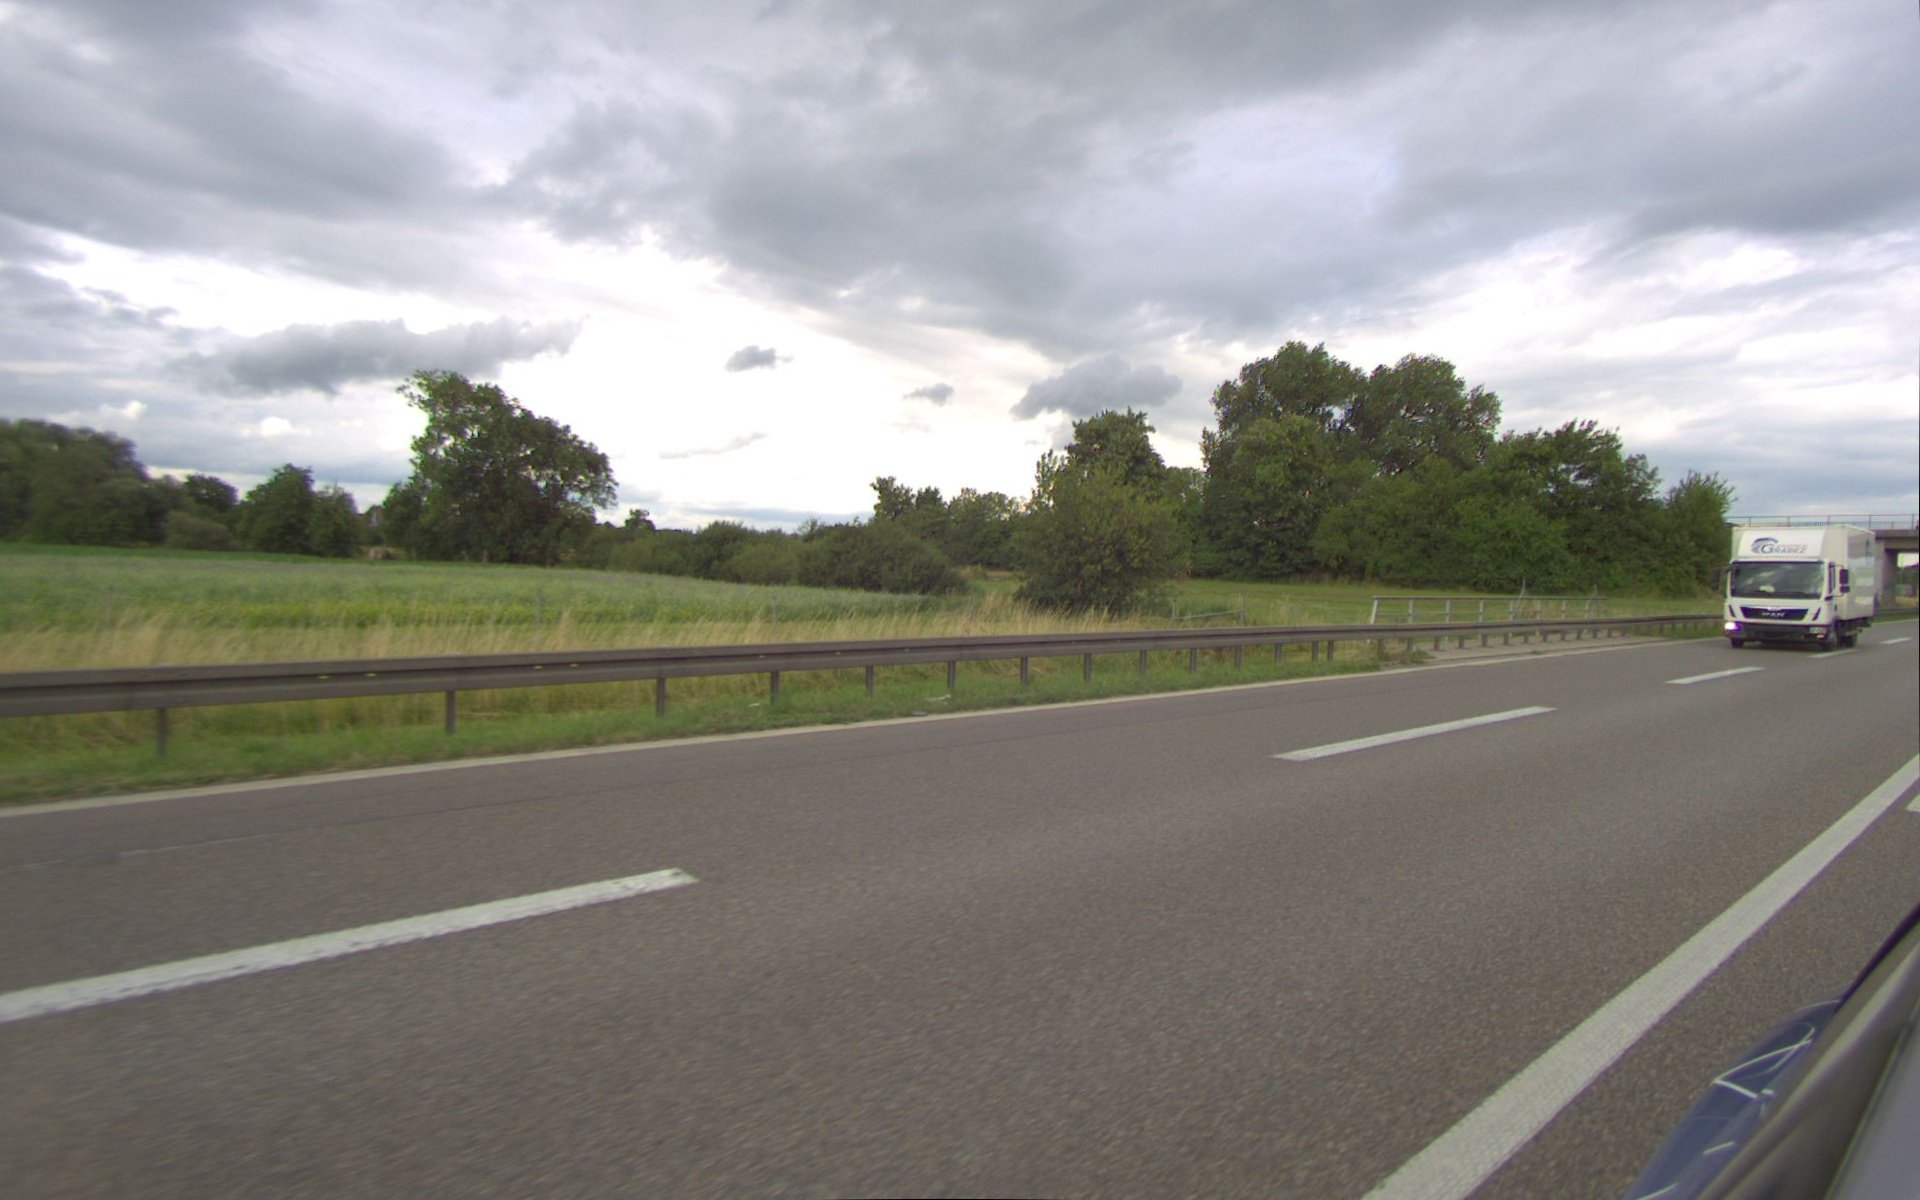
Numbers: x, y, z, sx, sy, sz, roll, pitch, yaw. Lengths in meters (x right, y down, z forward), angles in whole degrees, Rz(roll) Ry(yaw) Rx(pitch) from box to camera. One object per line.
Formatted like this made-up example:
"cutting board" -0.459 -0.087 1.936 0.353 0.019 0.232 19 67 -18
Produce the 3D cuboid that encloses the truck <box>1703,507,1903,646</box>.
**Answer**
"truck" 24.835 -0.643 29.610 8.735 3.514 3.110 -1 1 -41
